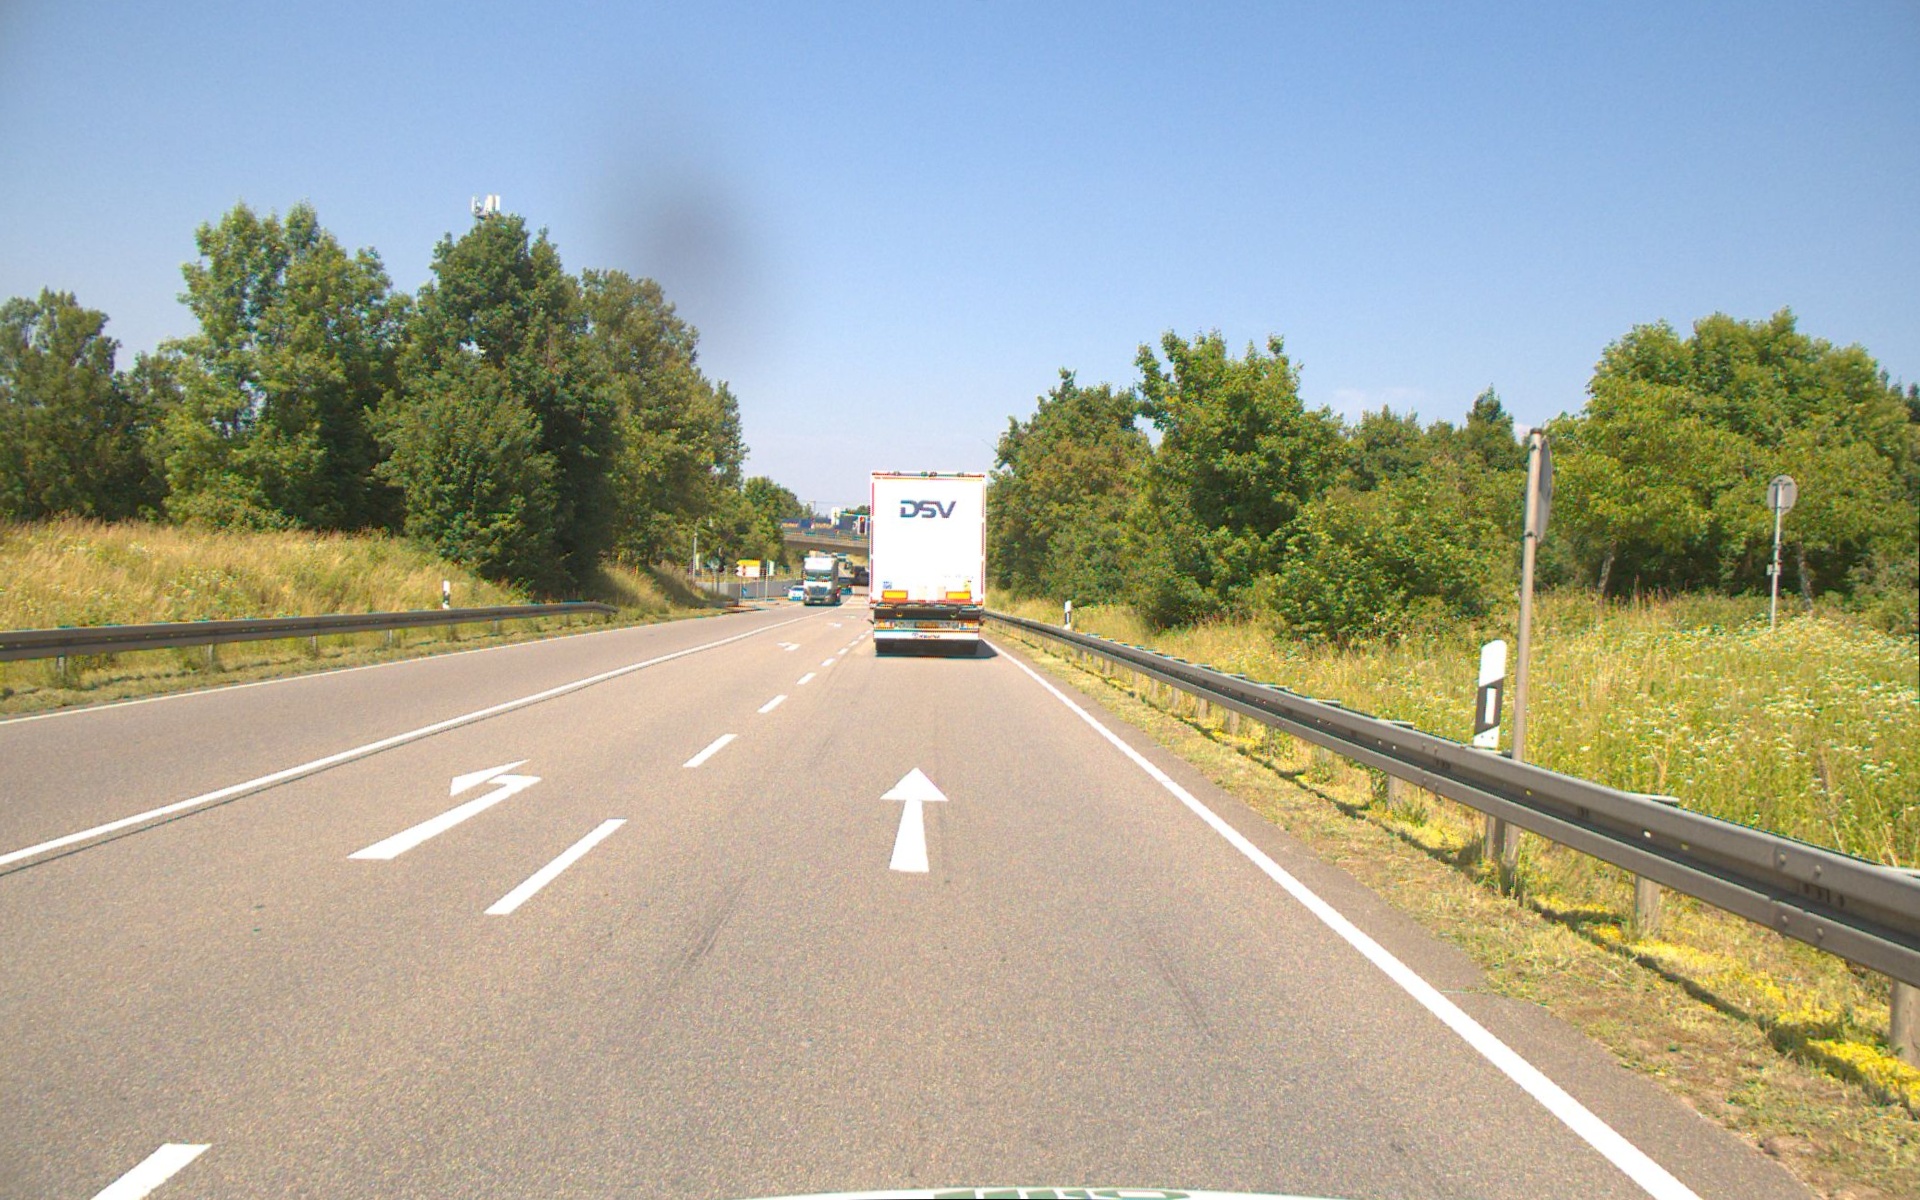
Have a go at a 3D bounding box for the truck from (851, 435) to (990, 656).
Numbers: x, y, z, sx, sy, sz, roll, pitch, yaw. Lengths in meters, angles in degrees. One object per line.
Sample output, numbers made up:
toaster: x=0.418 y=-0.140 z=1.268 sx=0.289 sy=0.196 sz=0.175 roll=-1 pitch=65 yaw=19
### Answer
truck: x=-0.916 y=-1.192 z=40.263 sx=2.890 sy=4.648 sz=9.861 roll=1 pitch=0 yaw=-1

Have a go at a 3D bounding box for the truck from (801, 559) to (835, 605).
truck: x=-12.589 y=-1.633 z=147.110 sx=2.306 sy=3.815 sz=12.620 roll=1 pitch=1 yaw=-2

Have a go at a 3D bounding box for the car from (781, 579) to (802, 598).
car: x=-16.921 y=-1.176 z=166.299 sx=1.765 sy=1.904 sz=4.418 roll=1 pitch=1 yaw=-3
